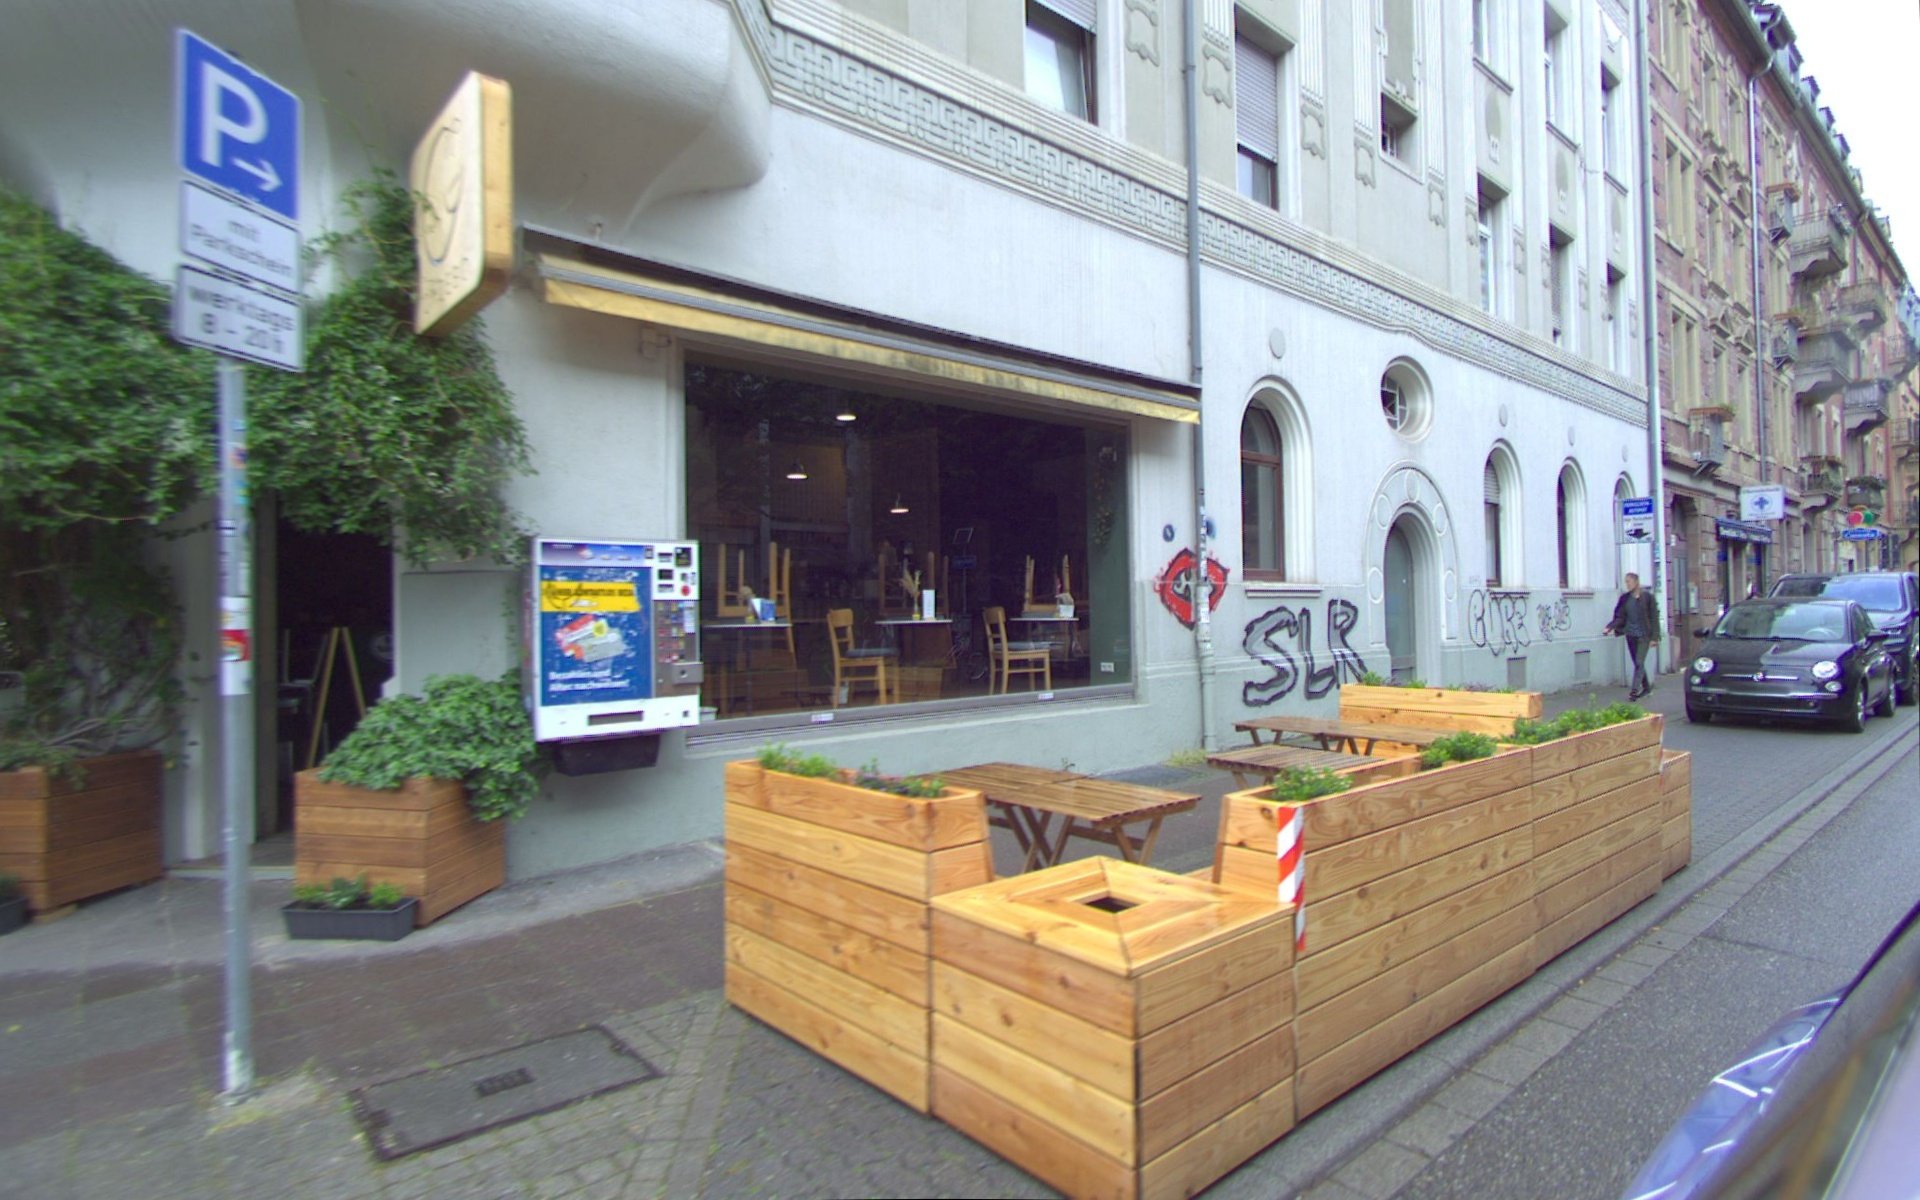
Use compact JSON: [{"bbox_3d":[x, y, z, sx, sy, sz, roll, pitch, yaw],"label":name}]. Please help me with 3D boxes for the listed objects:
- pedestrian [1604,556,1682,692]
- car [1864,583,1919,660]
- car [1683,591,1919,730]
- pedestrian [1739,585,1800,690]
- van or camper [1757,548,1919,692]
[{"bbox_3d":[10.189,0.348,15.099,0.408,1.975,0.826,-3,0,-40],"label":"pedestrian"},{"bbox_3d":[21.006,0.407,21.830,3.935,1.565,1.843,-1,0,-42],"label":"car"},{"bbox_3d":[10.281,0.612,12.285,3.641,1.418,1.712,-1,0,-42],"label":"car"},{"bbox_3d":[16.180,0.743,20.228,0.408,2.039,0.826,-3,0,-40],"label":"pedestrian"},{"bbox_3d":[14.113,0.238,15.620,4.968,1.915,2.024,-1,0,-42],"label":"van or camper"}]
